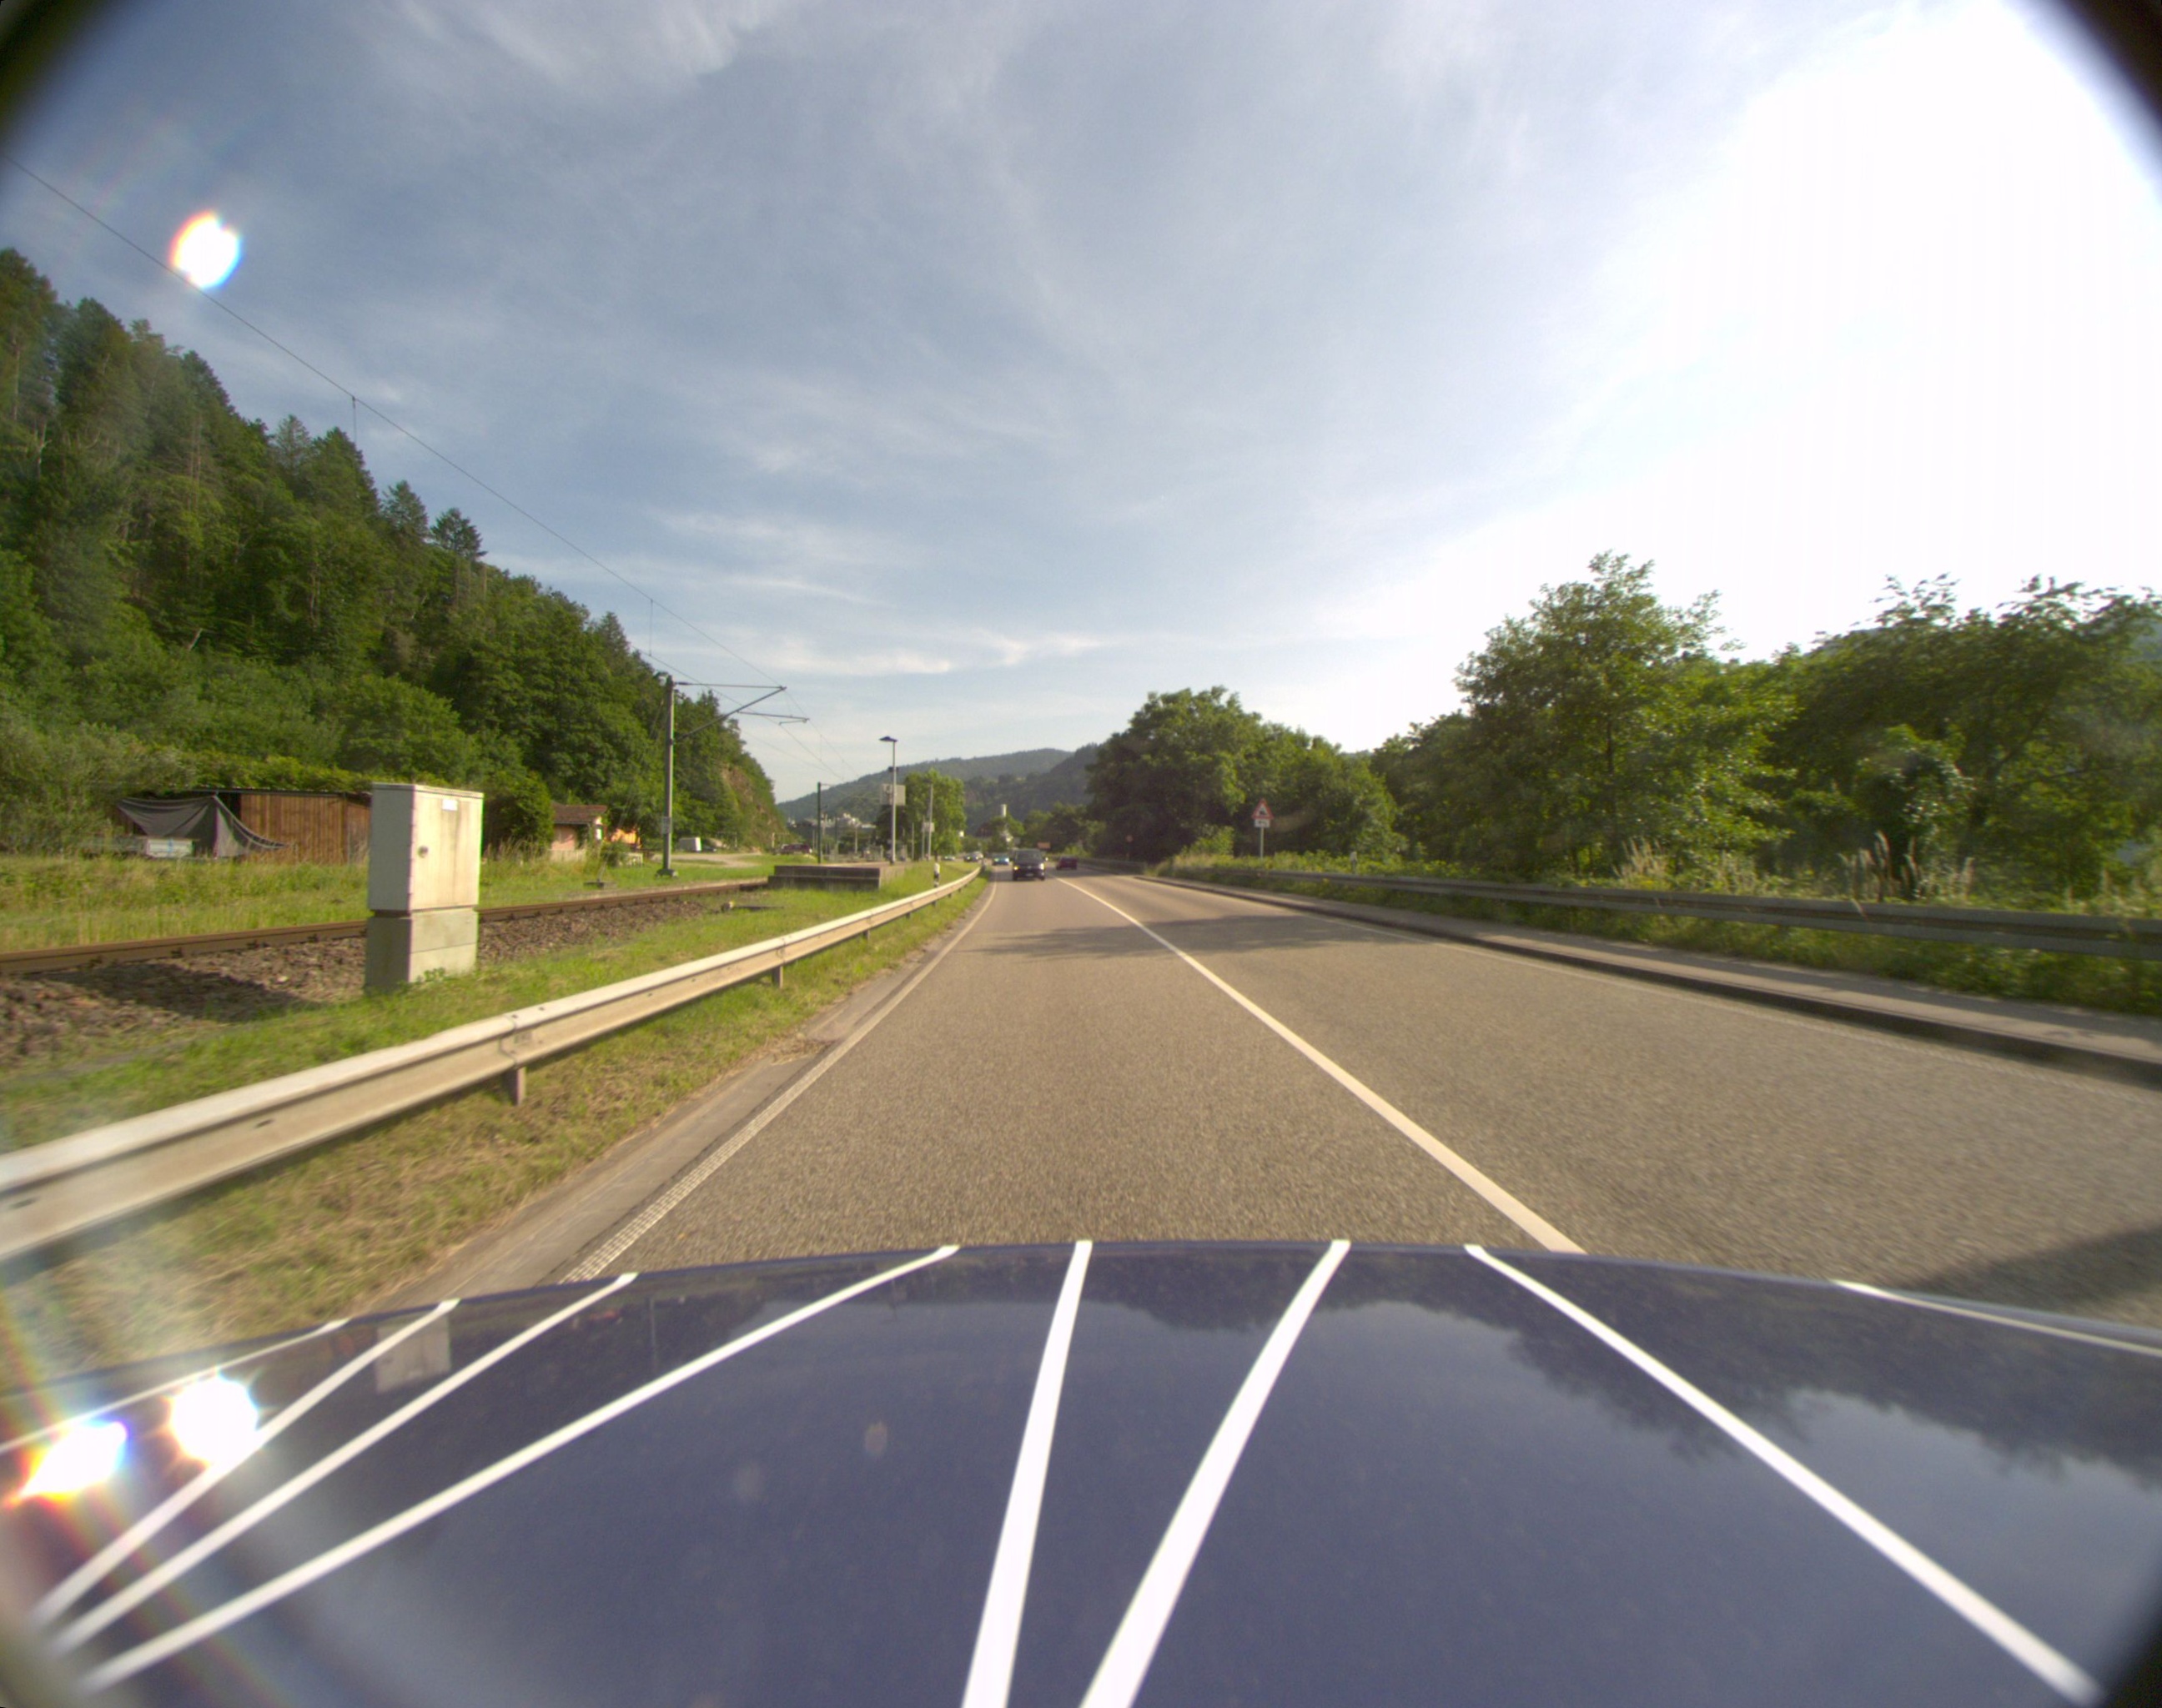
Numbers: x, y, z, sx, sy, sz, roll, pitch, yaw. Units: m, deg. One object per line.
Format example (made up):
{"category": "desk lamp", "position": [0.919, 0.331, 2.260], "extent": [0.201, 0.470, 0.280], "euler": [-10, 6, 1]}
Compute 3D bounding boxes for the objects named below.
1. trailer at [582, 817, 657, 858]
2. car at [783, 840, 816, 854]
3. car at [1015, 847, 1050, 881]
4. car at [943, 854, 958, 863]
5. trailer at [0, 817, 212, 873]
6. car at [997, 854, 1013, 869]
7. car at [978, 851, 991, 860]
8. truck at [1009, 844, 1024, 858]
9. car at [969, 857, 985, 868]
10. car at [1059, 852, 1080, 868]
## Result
{"category": "trailer", "position": [-54.990, -1.963, 90.901], "extent": [2.735, 4.456, 9.213], "euler": [-2, 1, 3]}
{"category": "car", "position": [-46.556, -1.163, 125.829], "extent": [4.978, 2.002, 1.997], "euler": [-3, 1, -16]}
{"category": "car", "position": [-3.032, 0.564, 46.925], "extent": [2.019, 1.905, 4.309], "euler": [-1, 1, -5]}
{"category": "car", "position": [-25.214, 0.903, 146.625], "extent": [1.889, 1.735, 4.170], "euler": [-1, 0, -25]}
{"category": "trailer", "position": [-25.318, -0.255, 18.959], "extent": [4.104, 1.026, 2.322], "euler": [6, -4, -18]}
{"category": "car", "position": [-9.759, 0.912, 97.554], "extent": [1.886, 1.735, 4.176], "euler": [-2, 1, -4]}
{"category": "car", "position": [-19.614, 0.396, 154.090], "extent": [1.888, 1.735, 4.173], "euler": [-1, 0, -17]}
{"category": "truck", "position": [-10.895, -0.442, 127.930], "extent": [1.887, 2.272, 4.714], "euler": [-1, 0, -13]}
{"category": "car", "position": [-17.351, 1.362, 126.399], "extent": [1.888, 1.735, 4.173], "euler": [-1, 0, -17]}
{"category": "car", "position": [-1.119, 0.522, 71.881], "extent": [1.638, 1.341, 4.106], "euler": [-3, 1, -6]}
